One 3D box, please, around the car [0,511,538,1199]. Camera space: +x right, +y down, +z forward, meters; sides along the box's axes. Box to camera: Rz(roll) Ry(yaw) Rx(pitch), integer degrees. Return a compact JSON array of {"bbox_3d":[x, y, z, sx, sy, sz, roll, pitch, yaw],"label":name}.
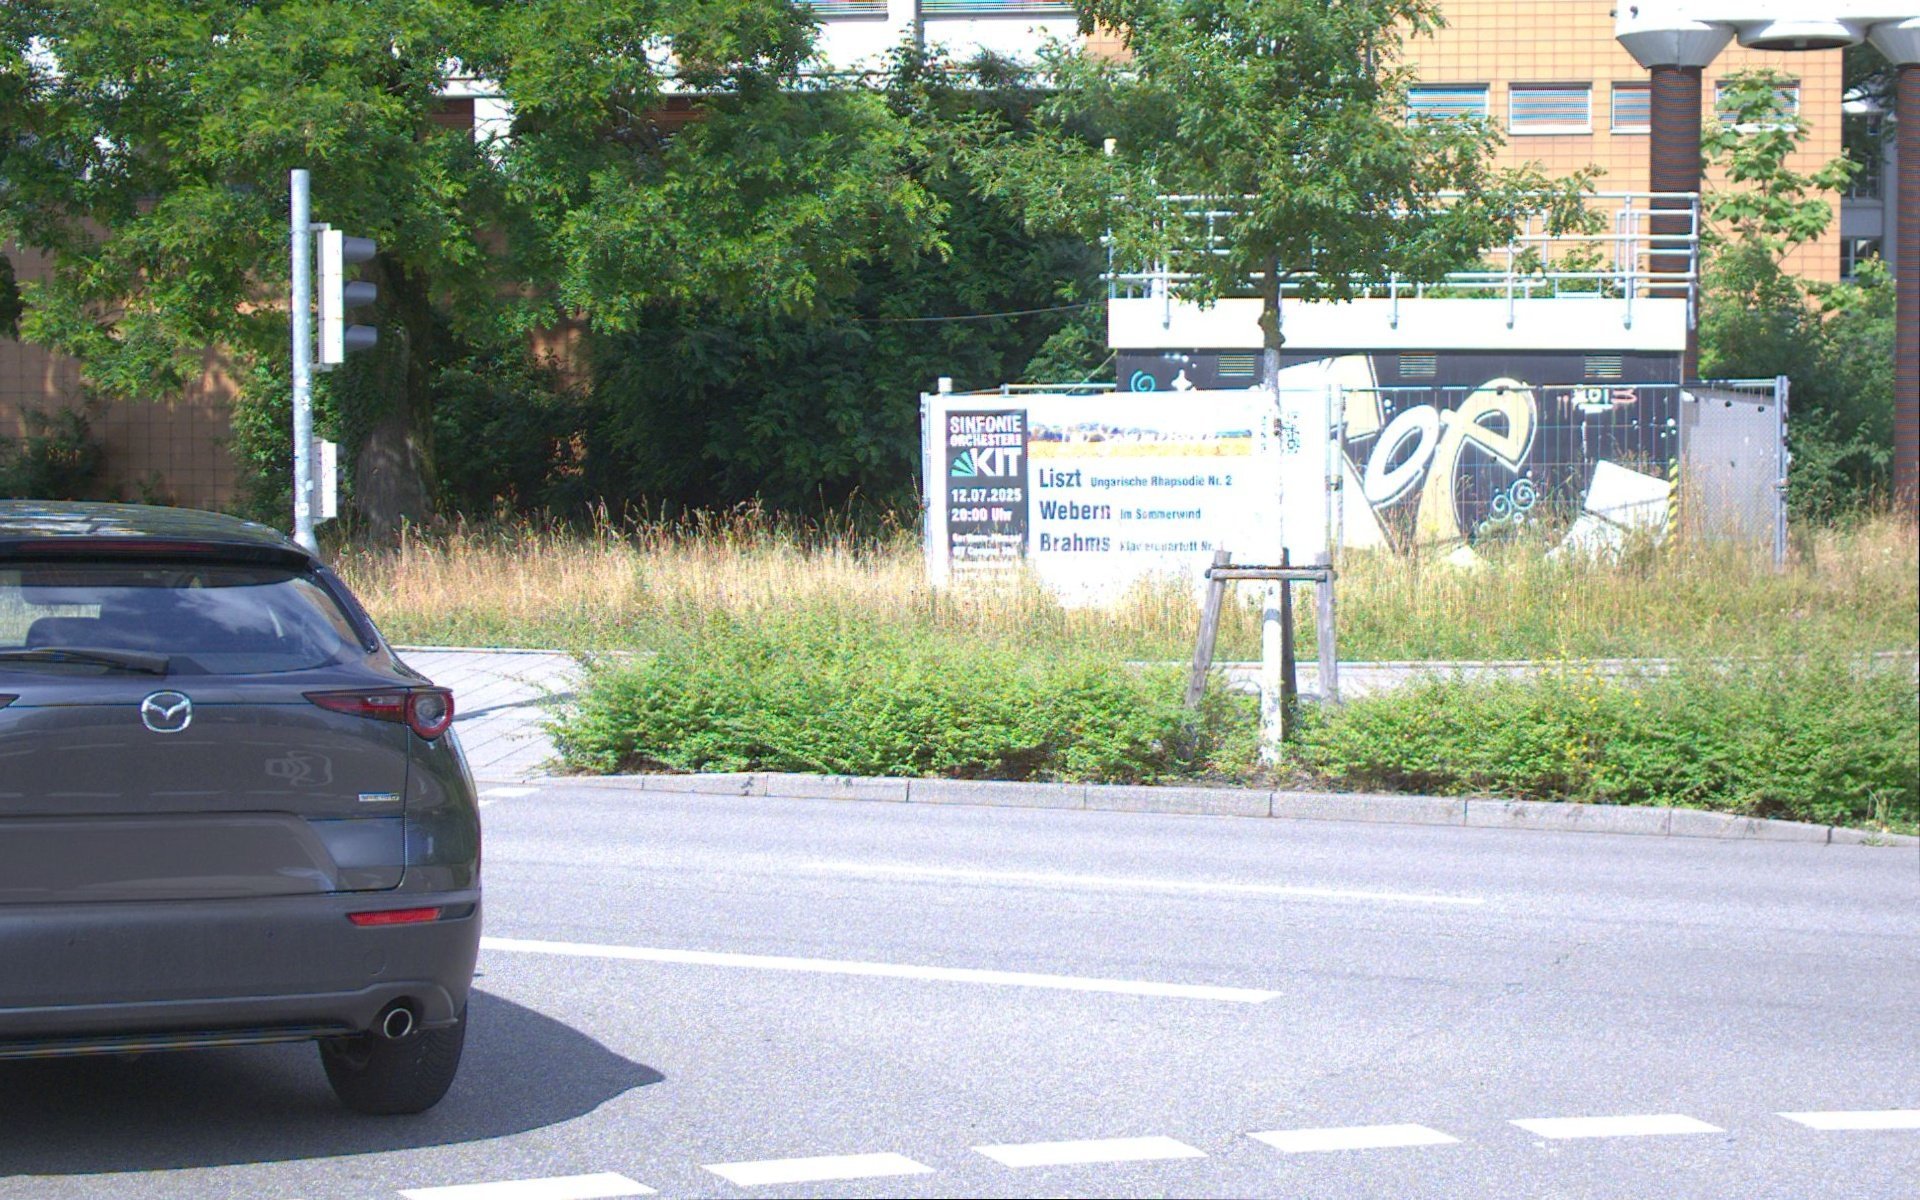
[{"bbox_3d":[-2.698,0.514,9.199,1.806,1.503,4.206,0,2,-27],"label":"car"}]
